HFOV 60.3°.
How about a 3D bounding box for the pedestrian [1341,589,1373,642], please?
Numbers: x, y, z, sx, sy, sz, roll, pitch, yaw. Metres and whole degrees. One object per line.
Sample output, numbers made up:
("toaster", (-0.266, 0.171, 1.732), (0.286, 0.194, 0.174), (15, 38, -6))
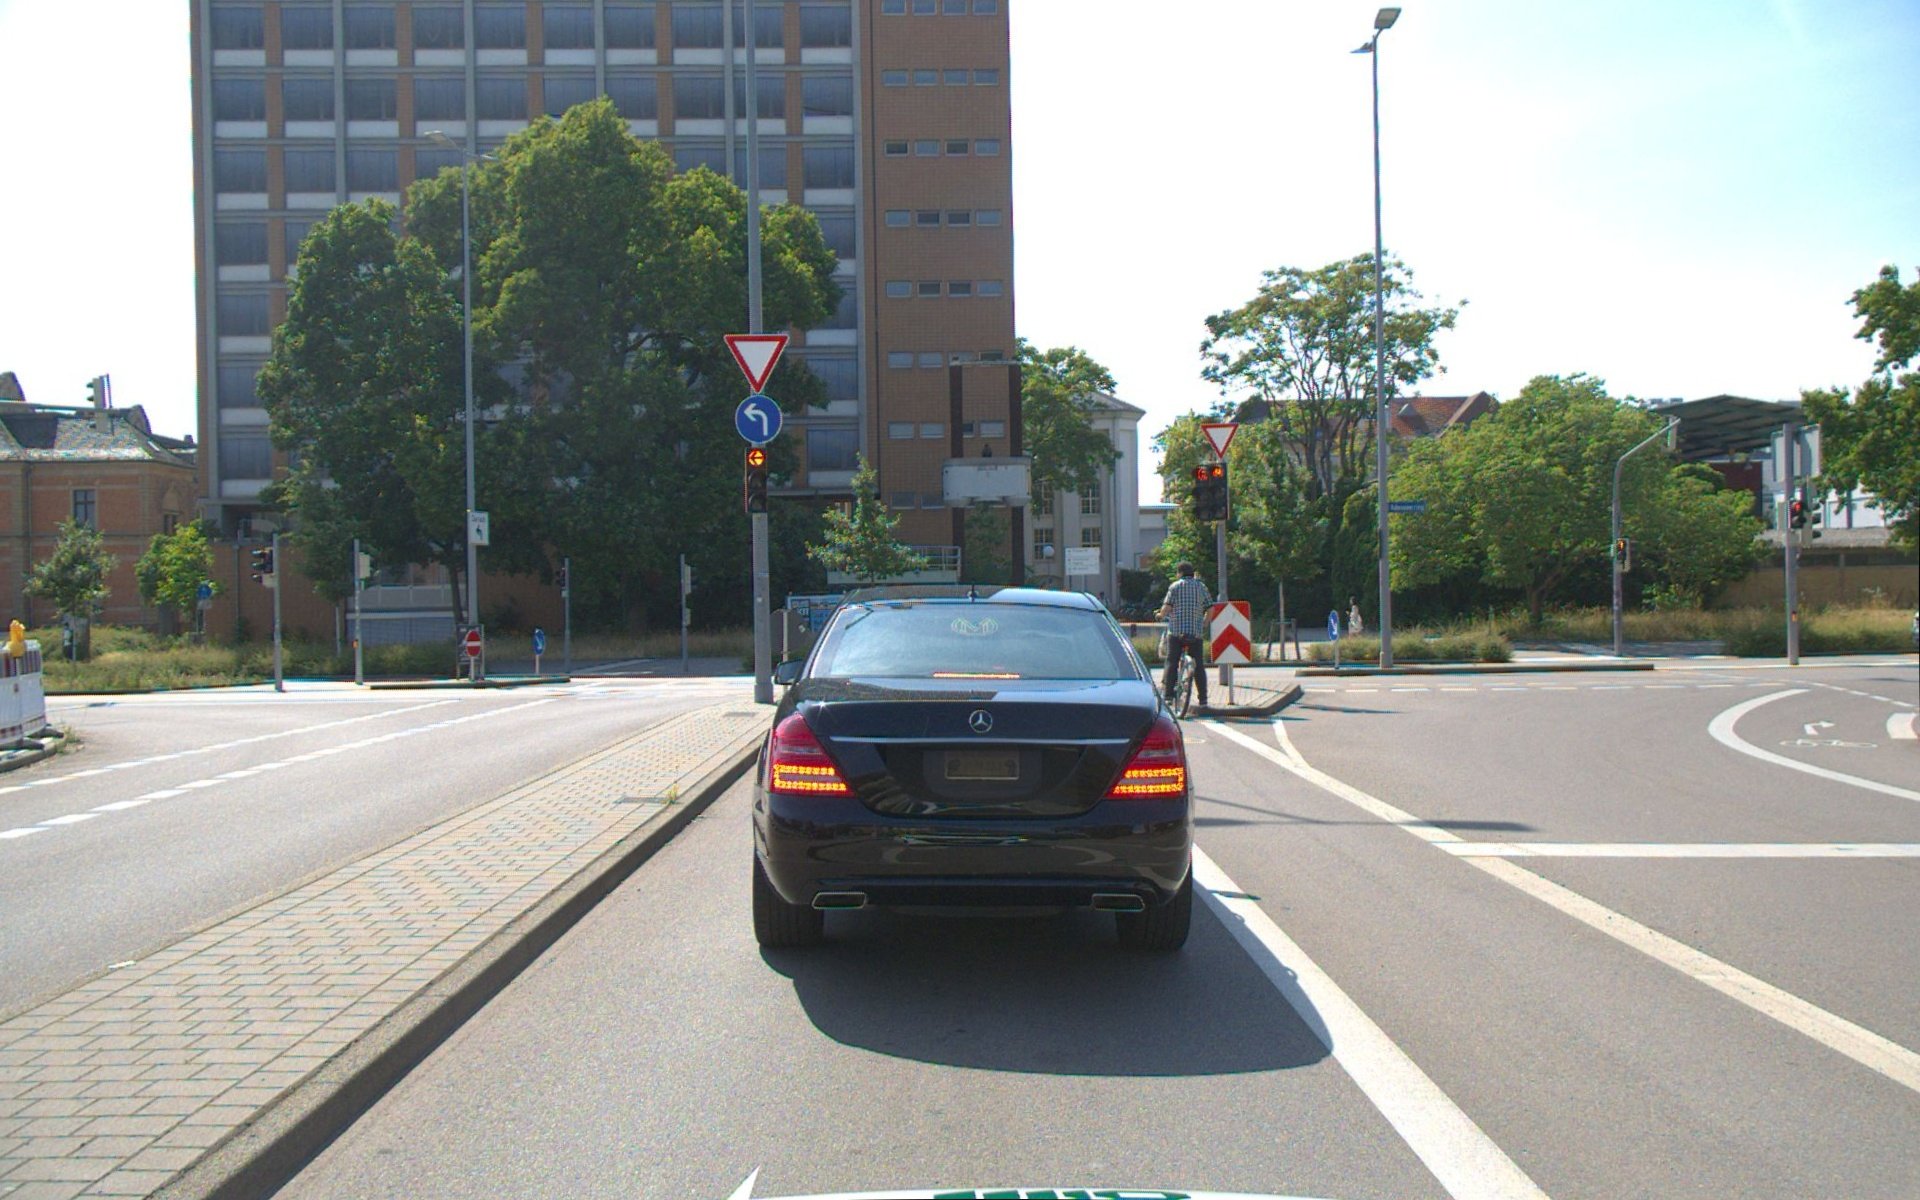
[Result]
("pedestrian", (12.325, 0.483, 51.372), (0.794, 1.607, 0.692), (-1, -1, 1))

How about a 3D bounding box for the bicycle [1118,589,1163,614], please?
("bicycle", (11.602, 0.118, 106.616), (2.765, 1.506, 0.841), (-2, 0, 0))

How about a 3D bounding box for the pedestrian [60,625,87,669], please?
("pedestrian", (-34.505, 1.807, 64.344), (0.635, 1.690, 0.649), (1, -1, 25))

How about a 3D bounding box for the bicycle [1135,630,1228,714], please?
("bicycle", (2.742, 0.879, 20.653), (0.679, 0.963, 1.955), (1, 0, -7))

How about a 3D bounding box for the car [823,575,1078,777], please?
("car", (-0.104, 0.596, 14.826), (1.953, 1.534, 3.999), (1, 0, -1))

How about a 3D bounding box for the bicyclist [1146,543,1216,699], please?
("bicyclist", (2.748, 0.257, 20.626), (0.673, 1.911, 0.858), (0, 0, -7))

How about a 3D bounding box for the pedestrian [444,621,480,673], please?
("pedestrian", (-17.126, 1.616, 56.913), (0.781, 1.756, 0.873), (-2, -1, 22))

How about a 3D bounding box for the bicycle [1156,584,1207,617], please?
("bicycle", (12.578, 0.027, 94.009), (2.766, 1.775, 0.841), (-2, 0, -2))

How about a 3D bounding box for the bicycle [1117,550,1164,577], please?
("bicycle", (11.204, -2.265, 102.731), (2.766, 1.586, 0.841), (-2, 0, -2))

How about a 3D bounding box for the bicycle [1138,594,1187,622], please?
("bicycle", (12.065, 0.480, 98.627), (2.766, 1.564, 0.841), (-2, 0, -2))

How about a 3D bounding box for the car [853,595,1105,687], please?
("car", (0.351, 0.706, 28.619), (4.070, 1.445, 1.586), (-2, 0, 14))

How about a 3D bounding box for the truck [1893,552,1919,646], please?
("truck", (27.739, -0.133, 41.855), (6.881, 2.397, 2.413), (-2, 0, 0))

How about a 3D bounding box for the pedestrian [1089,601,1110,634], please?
("pedestrian", (5.409, 0.672, 64.112), (0.776, 1.235, 0.758), (1, 0, 6))

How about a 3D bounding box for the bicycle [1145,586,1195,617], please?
("bicycle", (12.238, 0.106, 96.376), (2.766, 1.688, 0.841), (-2, 1, -2))

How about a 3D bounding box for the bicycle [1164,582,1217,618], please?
("bicycle", (12.753, 0.002, 91.714), (2.766, 1.868, 0.841), (-2, 0, -2))

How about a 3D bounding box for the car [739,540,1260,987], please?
("car", (0.083, 0.589, 8.173), (1.821, 1.557, 4.712), (1, 0, -2))

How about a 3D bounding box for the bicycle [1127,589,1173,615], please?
("bicycle", (12.009, 0.132, 104.724), (2.766, 1.526, 0.841), (-2, 0, -2))
